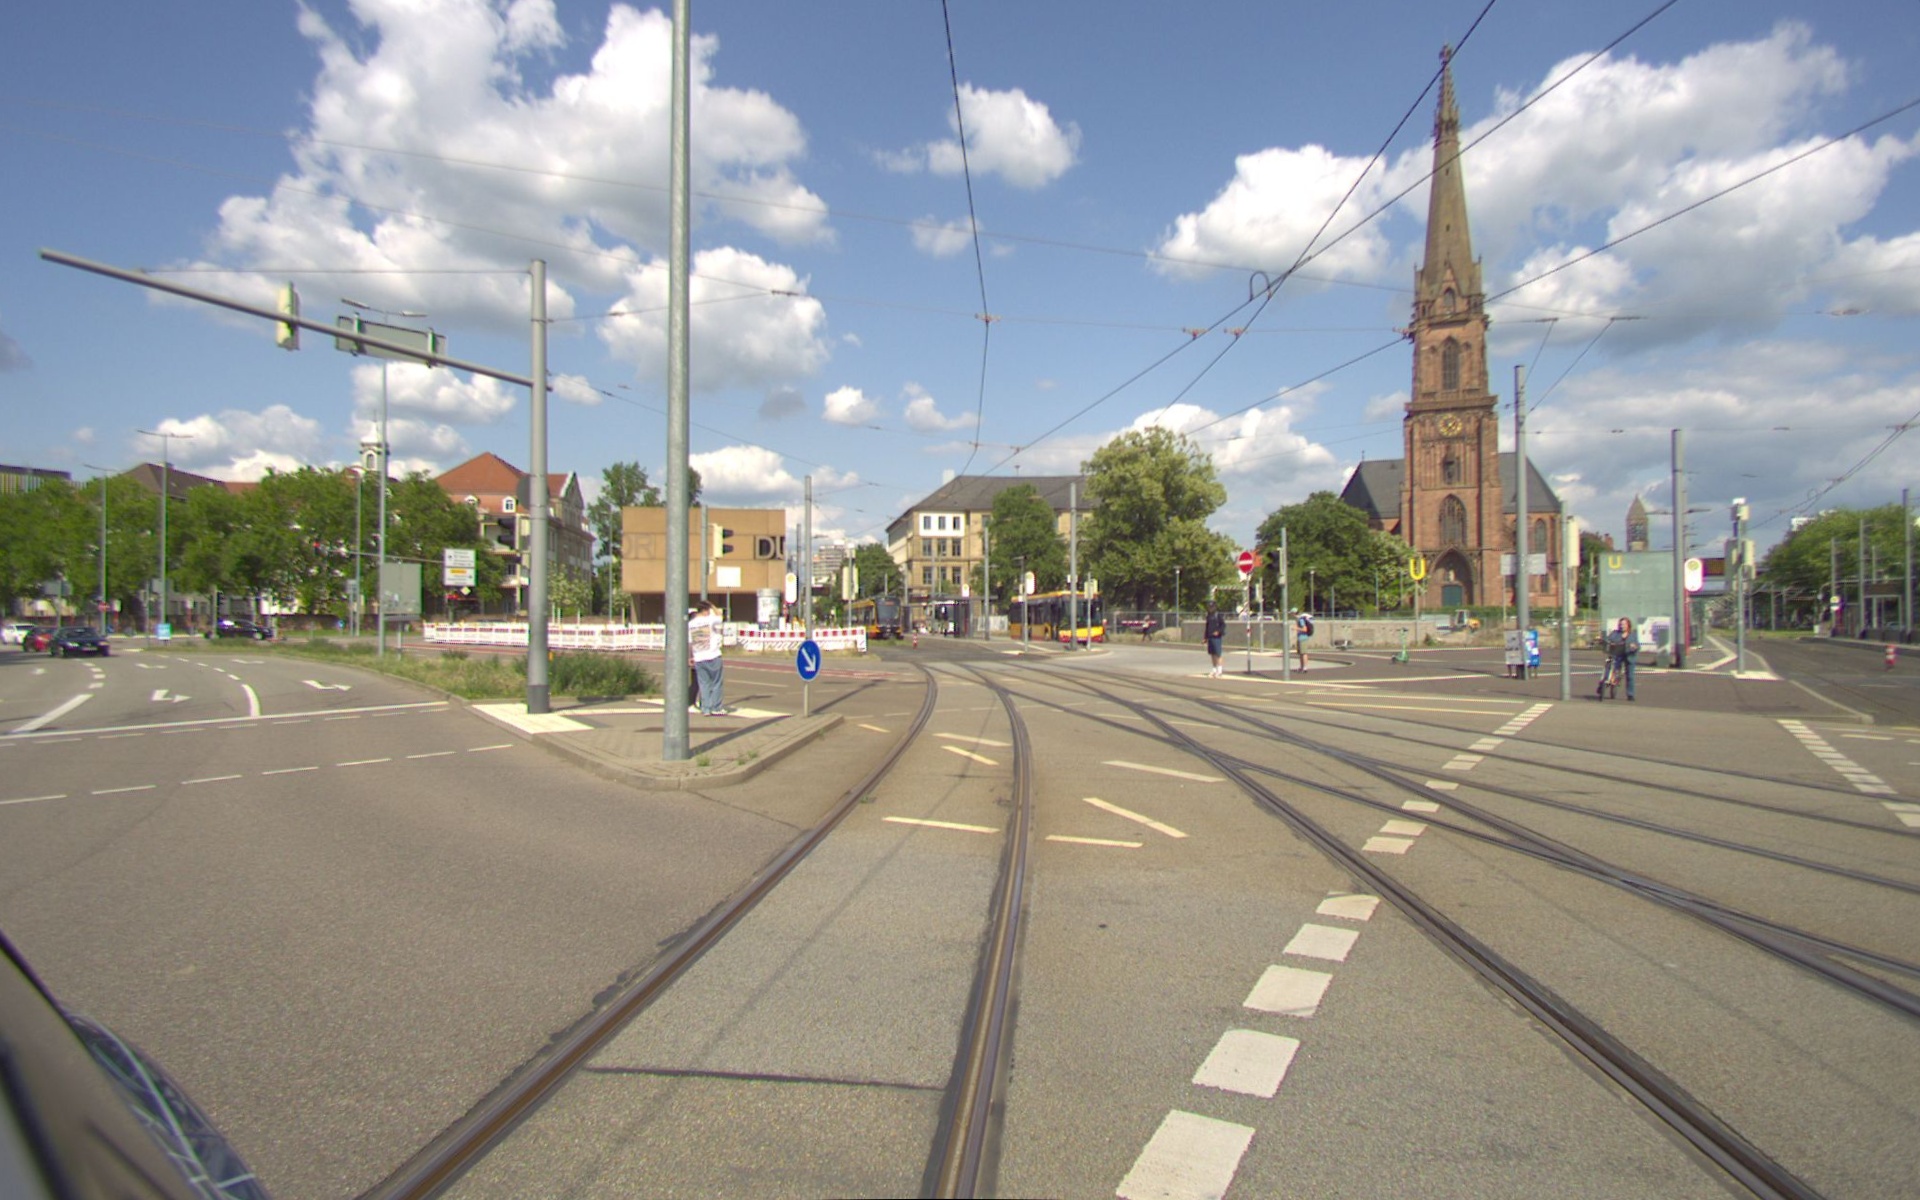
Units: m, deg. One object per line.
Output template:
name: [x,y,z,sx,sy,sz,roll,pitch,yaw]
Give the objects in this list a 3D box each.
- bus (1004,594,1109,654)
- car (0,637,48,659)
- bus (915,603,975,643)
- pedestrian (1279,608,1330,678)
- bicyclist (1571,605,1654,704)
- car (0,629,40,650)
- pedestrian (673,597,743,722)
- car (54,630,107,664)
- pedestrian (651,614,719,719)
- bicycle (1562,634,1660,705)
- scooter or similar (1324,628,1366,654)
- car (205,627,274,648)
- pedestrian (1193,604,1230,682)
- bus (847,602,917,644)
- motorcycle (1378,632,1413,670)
bus: [5.432,1.422,60.278,2.788,3.160,12.868,0,-1,-11]
car: [-50.700,2.591,54.791,3.627,1.142,1.576,-2,-1,41]
bus: [-1.749,2.401,101.468,3.551,3.659,18.904,0,-2,-8]
pedestrian: [9.261,1.128,27.215,0.755,1.811,1.030,-1,0,-36]
bicyclist: [11.969,0.979,18.562,1.282,1.744,0.996,2,-2,-43]
car: [-66.783,2.774,70.612,3.954,1.364,1.775,-1,0,9]
pedestrian: [-4.018,0.924,16.135,0.837,1.931,0.693,1,-2,-41]
car: [-40.948,2.169,47.177,1.798,1.474,4.007,0,-1,-40]
pedestrian: [-4.516,1.070,16.610,0.837,1.660,0.693,1,-2,-41]
bicycle: [11.928,1.231,18.523,2.266,1.197,0.996,2,-2,-43]
scooter or similar: [18.073,1.926,47.549,1.620,1.114,0.854,-1,0,-7]
car: [-50.226,2.602,70.613,3.723,1.345,1.739,-1,0,-27]
pedestrian: [6.335,1.066,25.430,0.820,1.917,0.763,-1,0,18]
bus: [-7.340,2.090,89.947,3.419,3.208,23.831,0,-1,-11]
motorcycle: [14.495,1.678,33.677,1.424,1.246,0.485,1,-2,-39]
